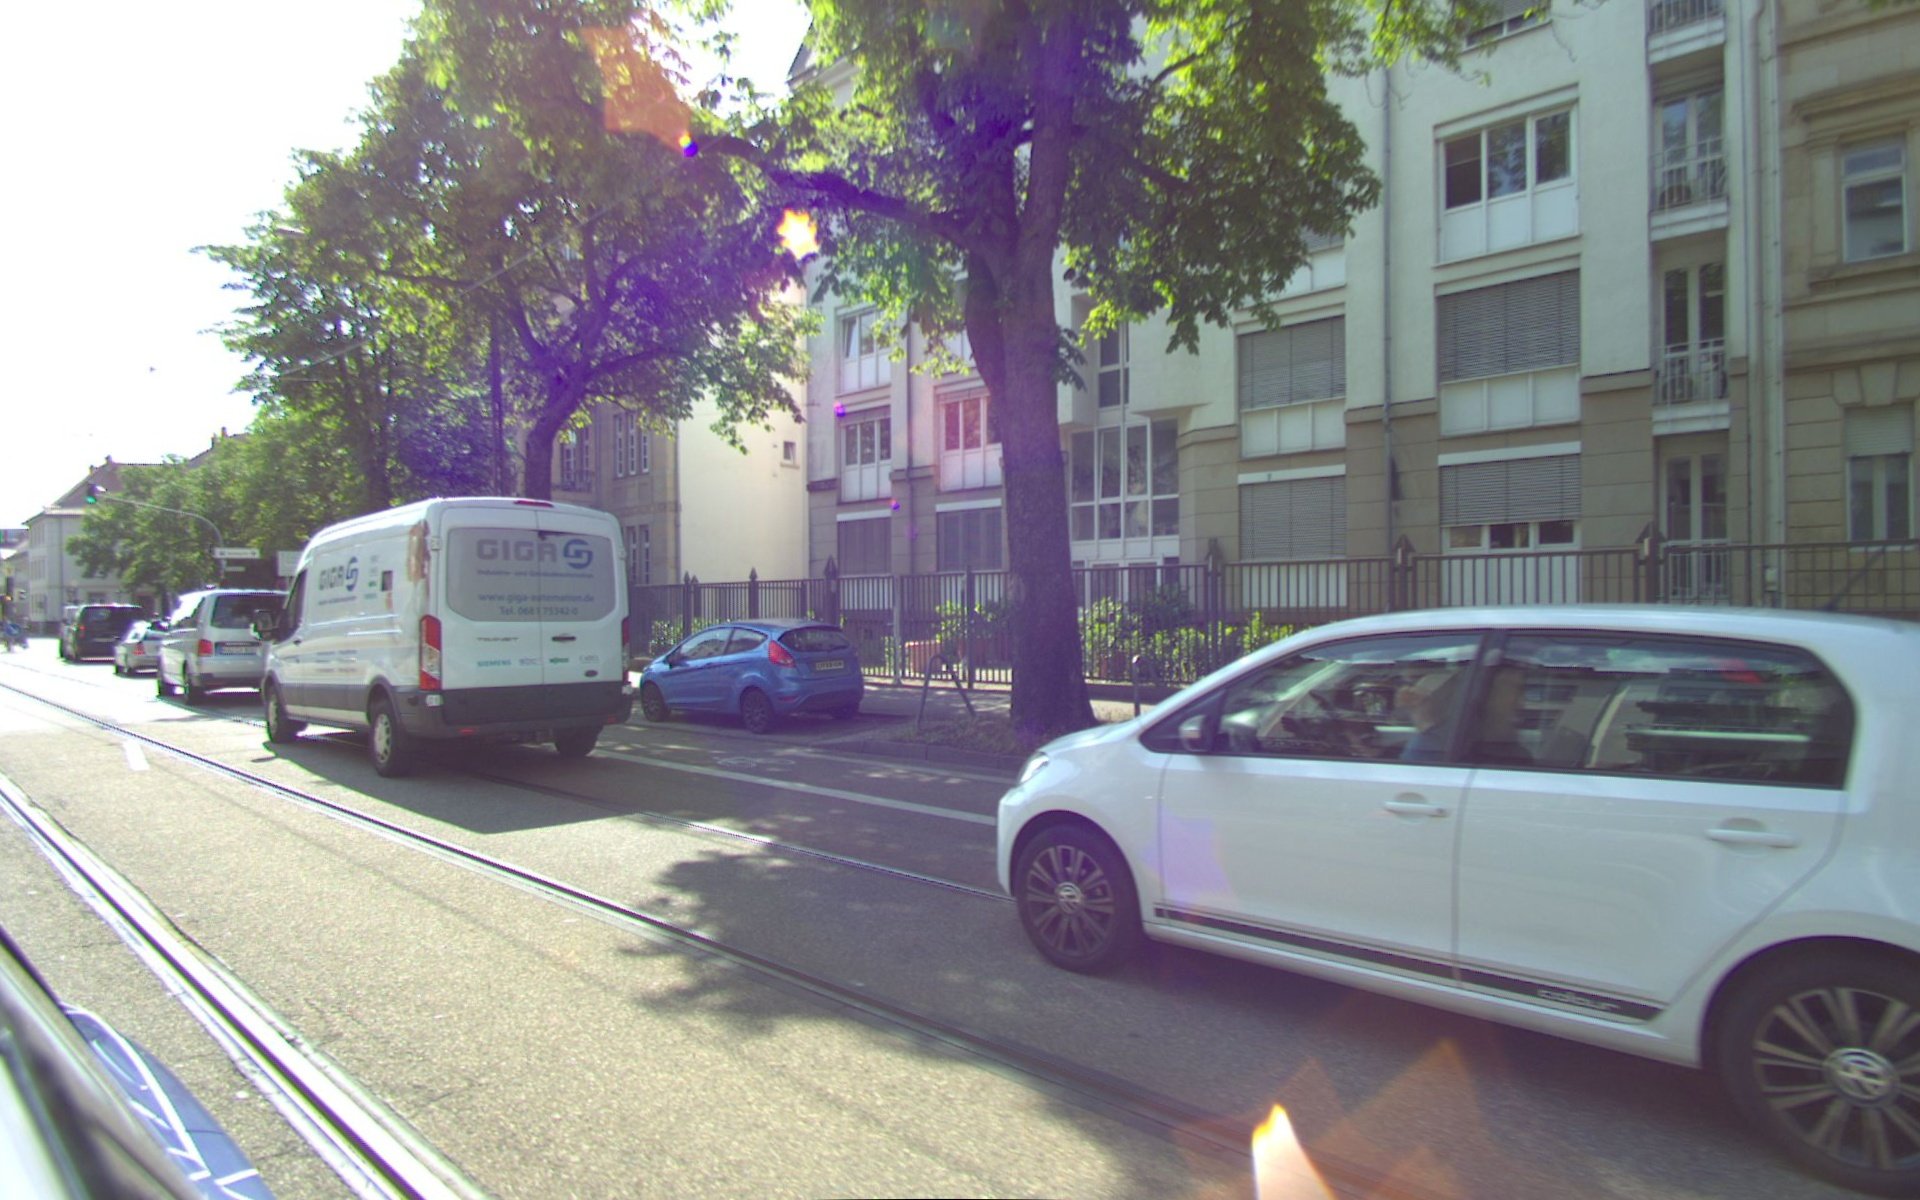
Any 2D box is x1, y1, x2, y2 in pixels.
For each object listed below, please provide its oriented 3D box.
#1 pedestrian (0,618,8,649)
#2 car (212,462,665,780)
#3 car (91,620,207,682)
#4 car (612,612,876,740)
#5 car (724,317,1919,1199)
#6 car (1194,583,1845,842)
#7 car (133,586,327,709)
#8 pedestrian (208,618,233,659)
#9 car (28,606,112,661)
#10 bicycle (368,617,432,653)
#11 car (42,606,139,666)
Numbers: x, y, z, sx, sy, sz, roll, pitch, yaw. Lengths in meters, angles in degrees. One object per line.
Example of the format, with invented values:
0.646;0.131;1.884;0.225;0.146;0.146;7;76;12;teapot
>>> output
-47.289;1.652;49.848;0.516;1.554;0.531;-4;-3;40;pedestrian
-5.982;0.247;11.041;6.361;2.526;2.291;-2;-2;42;car
-22.148;1.340;27.586;4.480;1.491;1.675;0;-2;41;car
-3.191;0.970;14.507;4.083;1.530;1.533;0;1;41;car
2.058;0.686;3.568;6.358;2.526;2.292;-1;-1;40;car
4.141;0.706;7.968;4.203;1.483;1.609;-2;1;42;car
-13.645;0.840;18.784;5.180;1.978;1.964;-2;-2;43;car
-30.826;1.612;42.190;0.748;1.669;0.517;-1;1;28;pedestrian
-35.854;1.280;40.712;5.088;2.010;1.972;1;1;42;car
-16.350;1.007;29.546;1.859;0.940;0.989;-2;2;40;bicycle
-30.376;1.224;35.302;5.123;1.932;1.906;-1;-3;42;car
